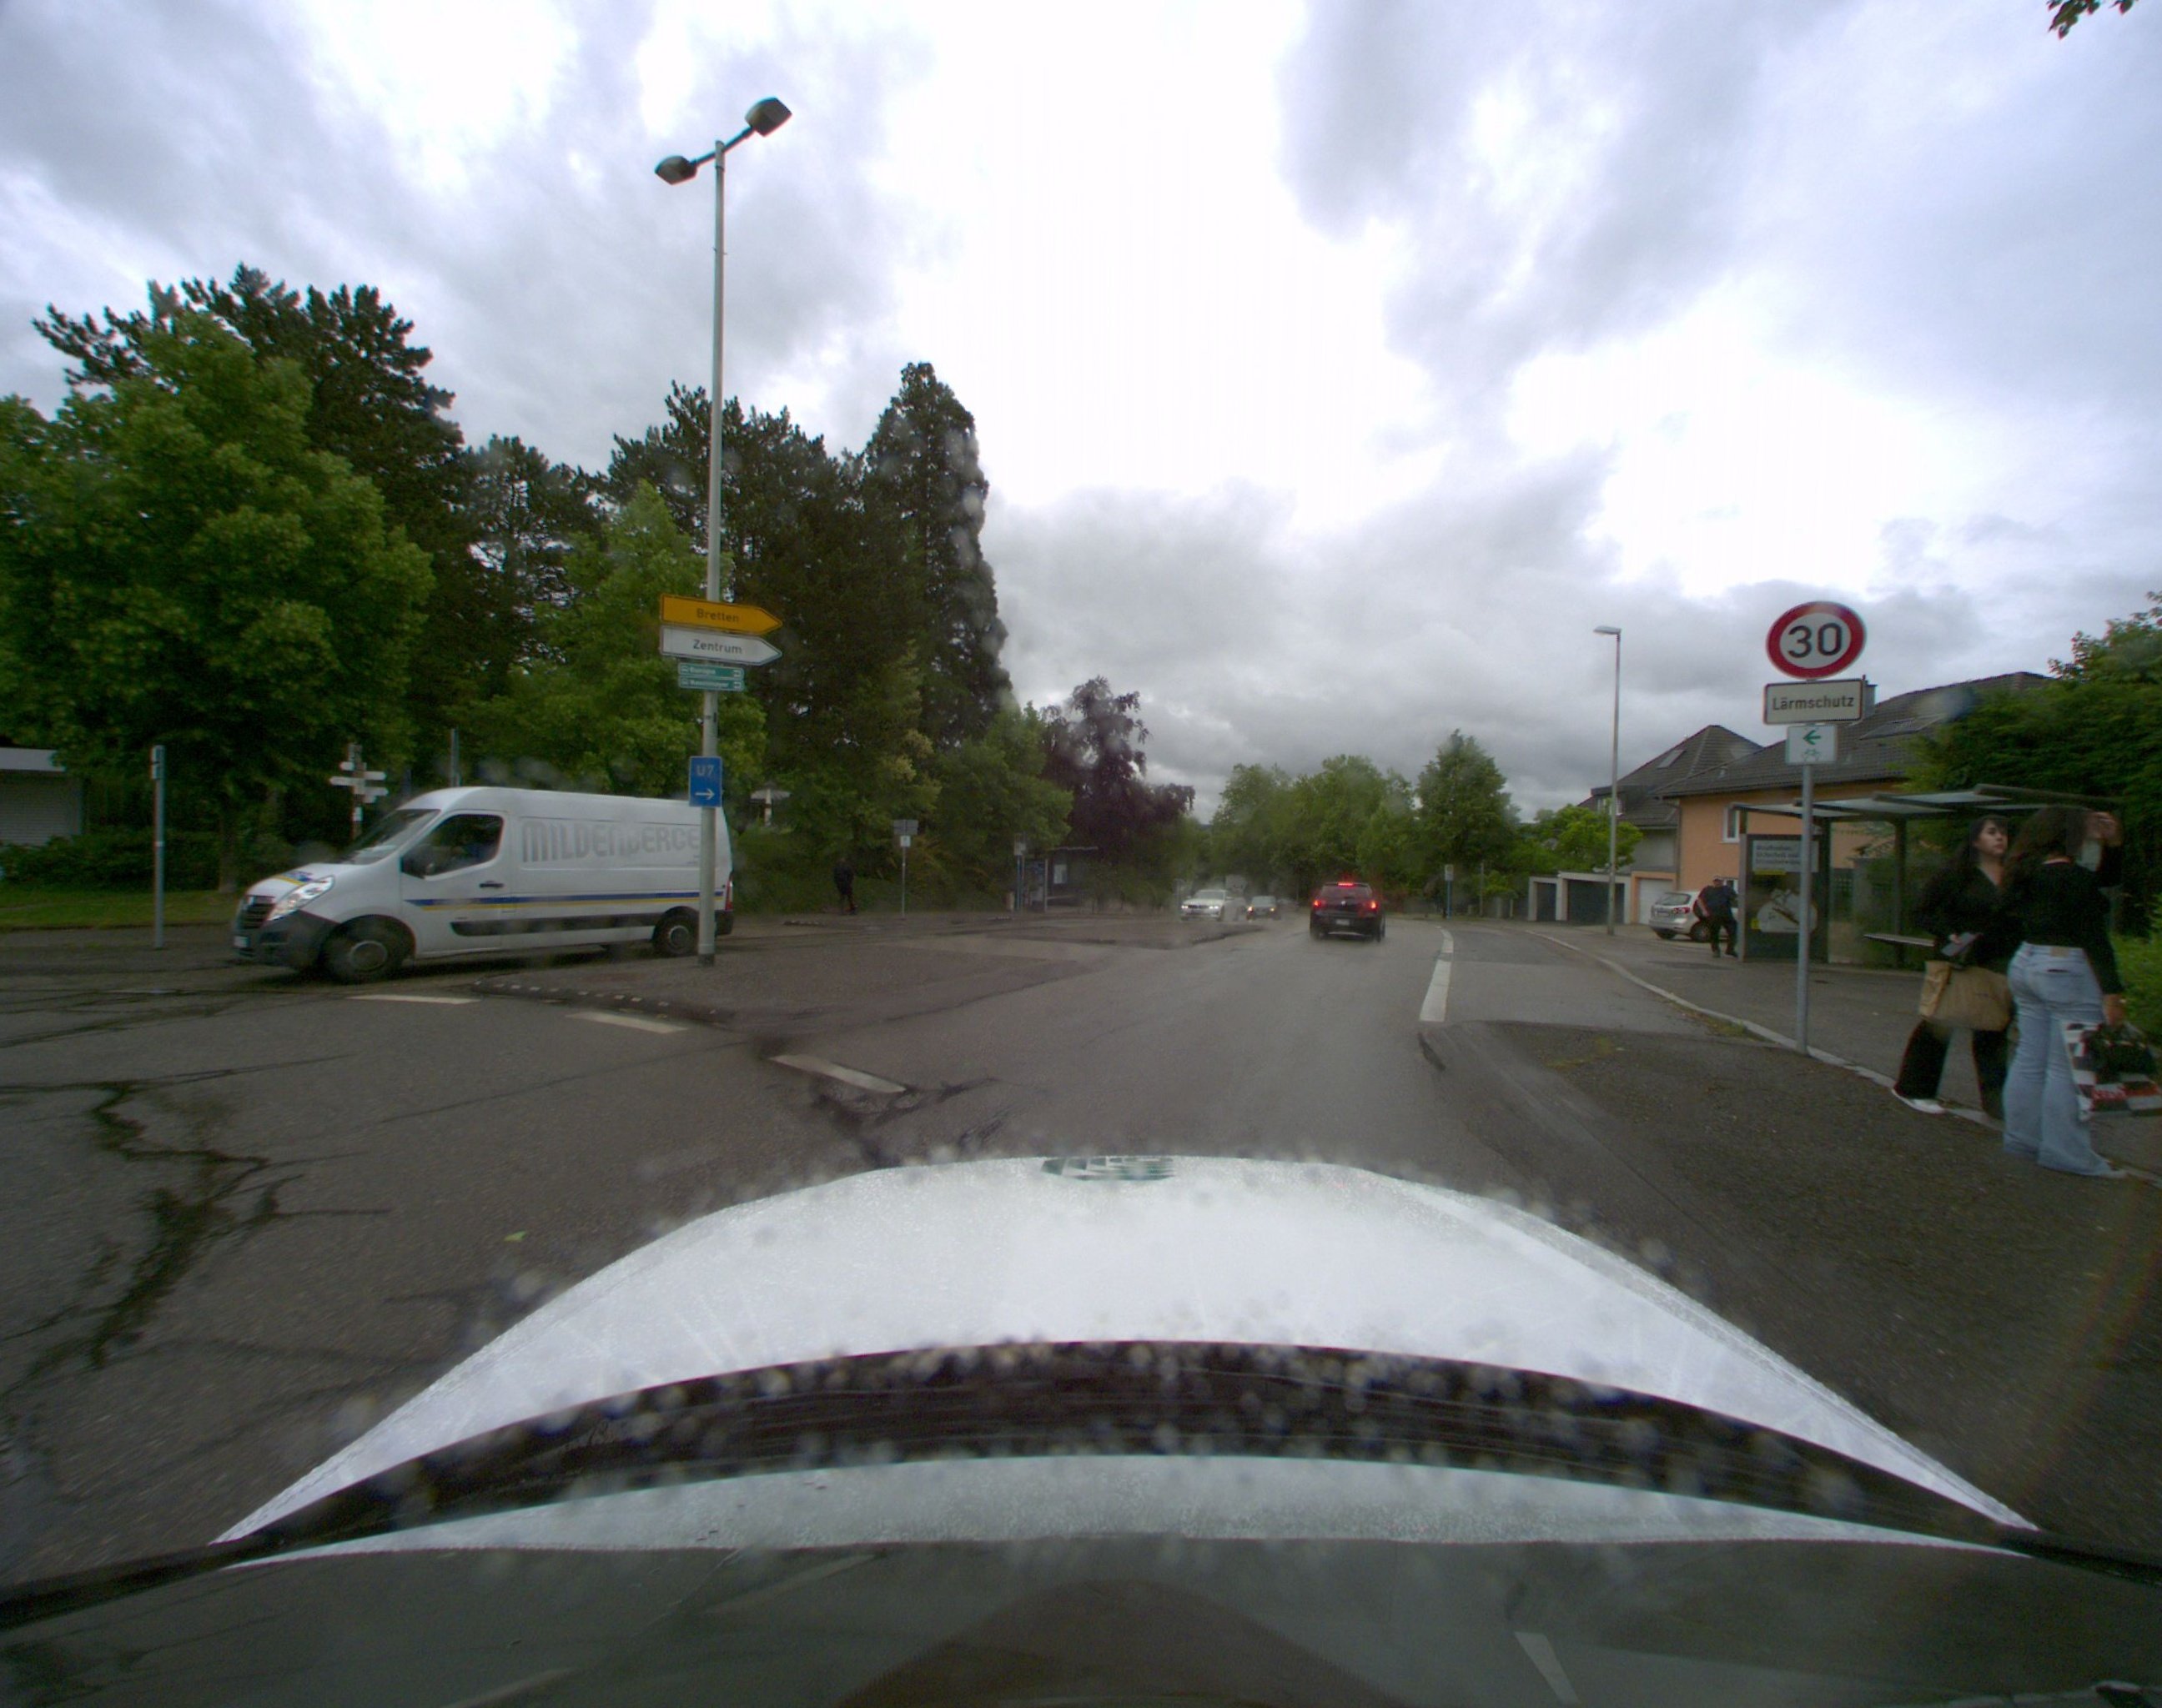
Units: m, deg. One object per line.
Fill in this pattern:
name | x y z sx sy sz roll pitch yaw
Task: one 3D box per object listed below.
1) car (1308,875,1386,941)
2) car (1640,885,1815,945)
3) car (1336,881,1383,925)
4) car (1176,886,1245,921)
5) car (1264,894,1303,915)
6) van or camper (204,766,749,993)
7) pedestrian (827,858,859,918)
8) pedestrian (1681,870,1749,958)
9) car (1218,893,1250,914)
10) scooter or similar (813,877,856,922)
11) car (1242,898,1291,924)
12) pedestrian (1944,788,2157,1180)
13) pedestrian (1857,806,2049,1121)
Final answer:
car | 7.186 1.384 21.760 1.750 1.539 4.020 1 -2 21
car | 19.747 1.826 25.015 3.874 1.632 1.903 2 -1 2
car | 12.265 2.138 36.112 1.751 1.802 4.263 -1 -3 16
car | 5.855 2.224 36.305 1.891 1.393 4.539 1 -3 24
car | 19.740 4.889 79.623 2.069 1.839 3.979 1 -1 -15
van or camper | -7.931 0.338 11.516 2.173 2.378 5.704 1 -1 33
pedestrian | -7.007 1.003 24.016 0.737 1.725 0.814 2 -1 -8
pedestrian | 12.872 1.202 16.542 1.000 1.696 0.962 -3 -4 39
car | 14.477 4.707 77.408 2.061 1.839 3.994 1 -1 -4
scooter or similar | -7.238 1.320 23.947 0.437 1.250 1.320 1 -1 21
car | 10.907 3.298 47.595 1.891 1.393 4.539 1 -3 24
pedestrian | 4.678 0.571 3.977 0.533 1.713 0.628 3 -2 -44
pedestrian | 5.092 0.607 4.776 0.634 1.713 0.527 2 -2 -13
